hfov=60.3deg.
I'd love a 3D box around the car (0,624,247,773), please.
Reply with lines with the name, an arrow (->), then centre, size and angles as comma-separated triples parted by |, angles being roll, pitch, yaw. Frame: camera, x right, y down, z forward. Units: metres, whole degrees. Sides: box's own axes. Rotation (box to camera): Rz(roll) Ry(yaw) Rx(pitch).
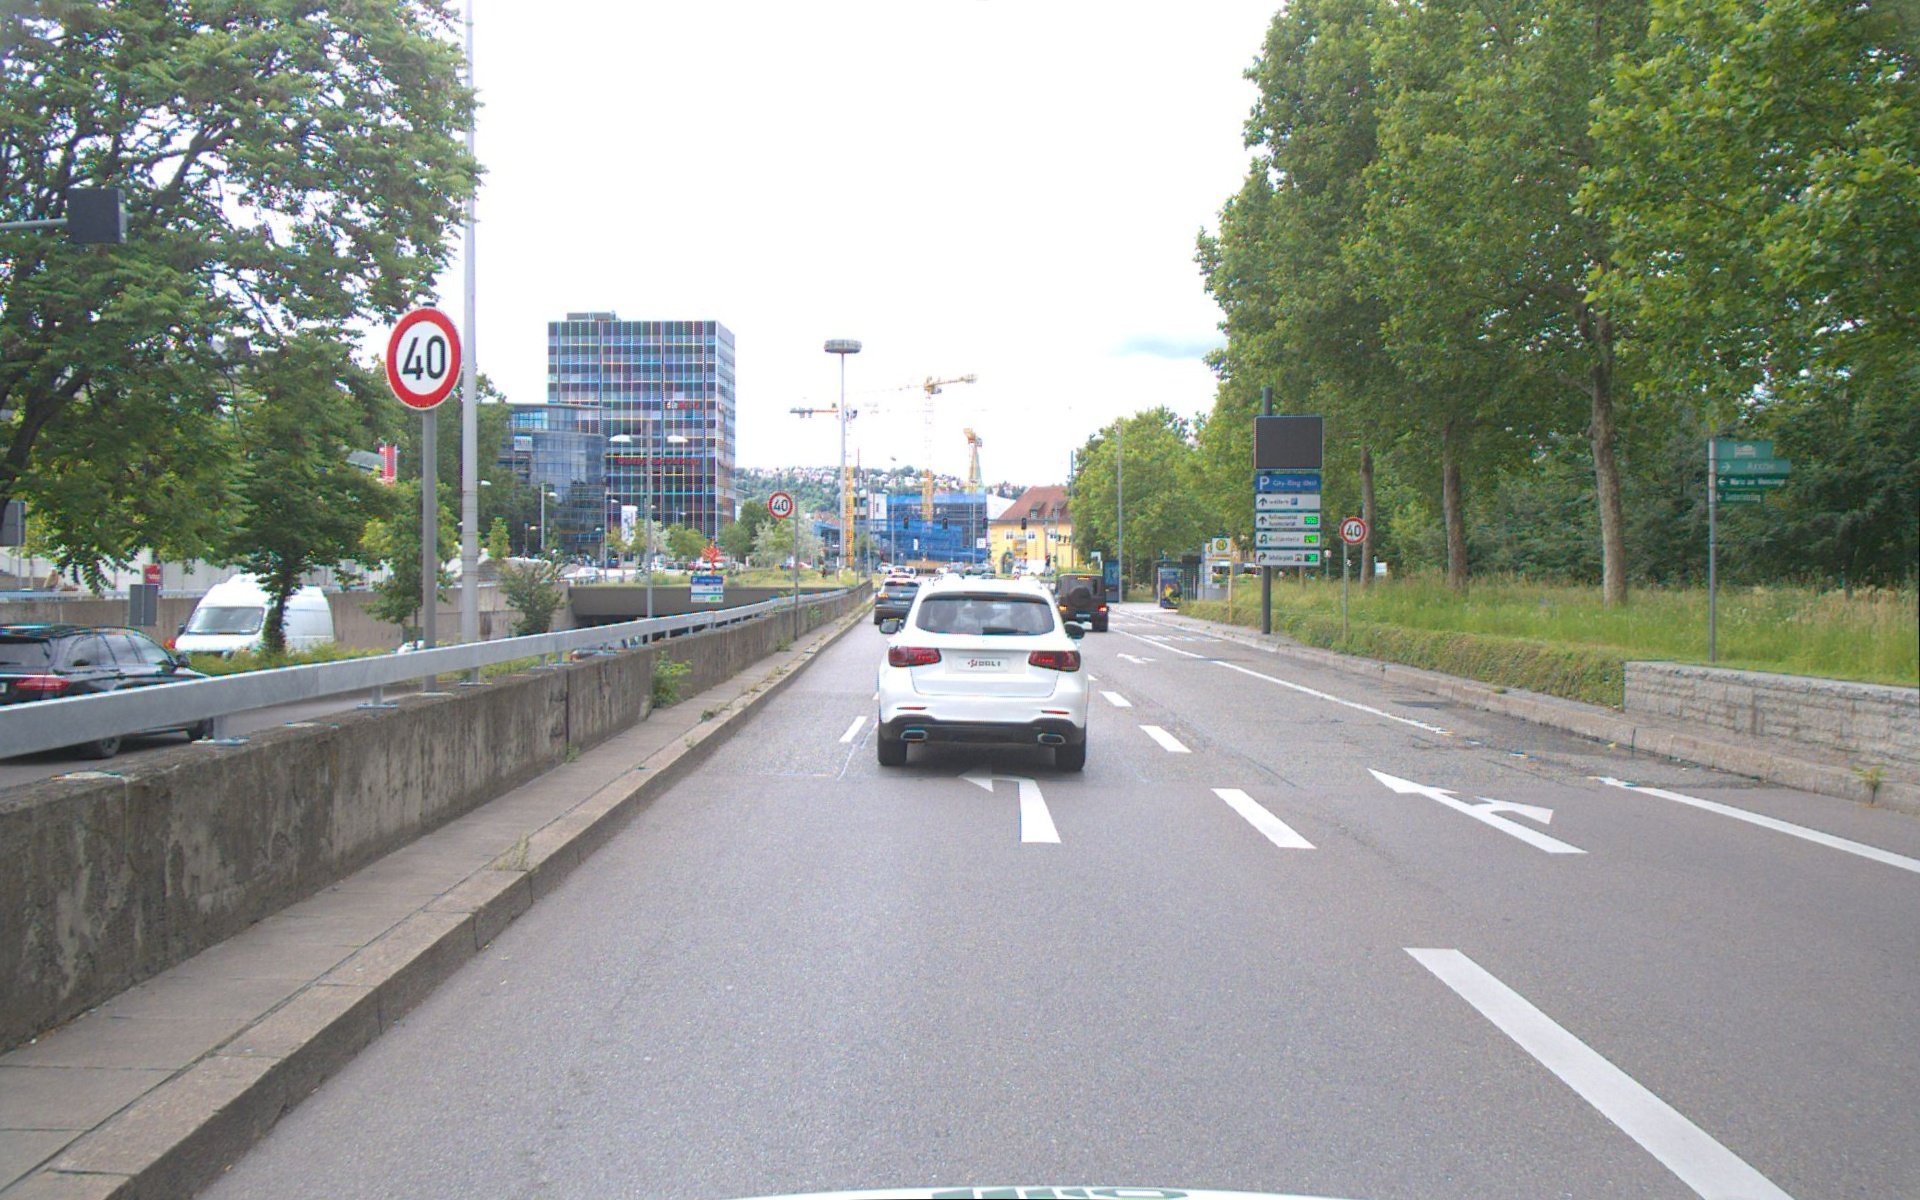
car -> -10.510, 1.079, 19.941 | 1.775, 1.486, 4.861 | 2, 0, -1

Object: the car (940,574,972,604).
car -> -0.292, -0.706, 109.809 | 1.953, 1.812, 3.998 | 2, 0, -2

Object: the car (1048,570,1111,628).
car -> 4.288, -0.023, 60.028 | 1.937, 1.926, 4.707 | 2, 0, 1

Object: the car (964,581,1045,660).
car -> 0.971, 0.452, 37.933 | 1.638, 1.656, 3.999 | 2, 0, -1

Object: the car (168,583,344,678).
car -> -17.902, 0.749, 42.449 | 1.935, 2.203, 6.210 | 2, 0, -2

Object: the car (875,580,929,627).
car -> -2.135, 0.114, 61.075 | 1.884, 1.630, 3.999 | 1, 1, -2

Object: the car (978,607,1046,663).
car -> 1.636, 1.080, 52.886 | 1.884, 1.630, 3.999 | 1, 1, -2

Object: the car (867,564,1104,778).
car -> 0.172, 0.597, 15.567 | 1.901, 1.713, 3.999 | 1, 0, -1

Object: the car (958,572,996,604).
car -> 0.957, -0.689, 95.795 | 1.953, 1.691, 3.998 | 2, 0, -2

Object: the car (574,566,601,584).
car -> -32.142, -2.133, 142.915 | 1.797, 1.384, 3.863 | 3, 0, -7

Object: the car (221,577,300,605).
car -> -32.221, -0.384, 76.305 | 1.773, 1.138, 4.805 | 3, 0, -3

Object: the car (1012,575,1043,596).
car -> 5.623, -1.198, 137.716 | 1.955, 1.646, 3.995 | 3, 0, -6

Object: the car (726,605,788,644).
car -> -7.453, 0.880, 60.944 | 1.684, 1.315, 4.000 | 3, 0, 1

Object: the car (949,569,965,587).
car -> -0.410, -2.701, 202.891 | 1.764, 2.049, 3.998 | 2, -1, -2

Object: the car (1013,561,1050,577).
car -> 10.481, -4.554, 242.244 | 5.183, 2.096, 1.866 | 2, -1, 36

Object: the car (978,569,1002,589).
car -> 2.467, -1.727, 137.639 | 1.685, 1.612, 3.998 | 2, 0, -3

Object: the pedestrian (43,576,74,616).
pedestrian -> -37.754, -0.180, 69.269 | 0.720, 1.669, 1.005 | 0, 0, -2

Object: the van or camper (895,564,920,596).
van or camper -> -4.133, -1.572, 129.797 | 1.884, 2.360, 3.998 | 1, -1, -2

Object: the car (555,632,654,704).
car -> -8.304, 1.559, 38.900 | 1.594, 1.535, 3.538 | 2, 0, -2
